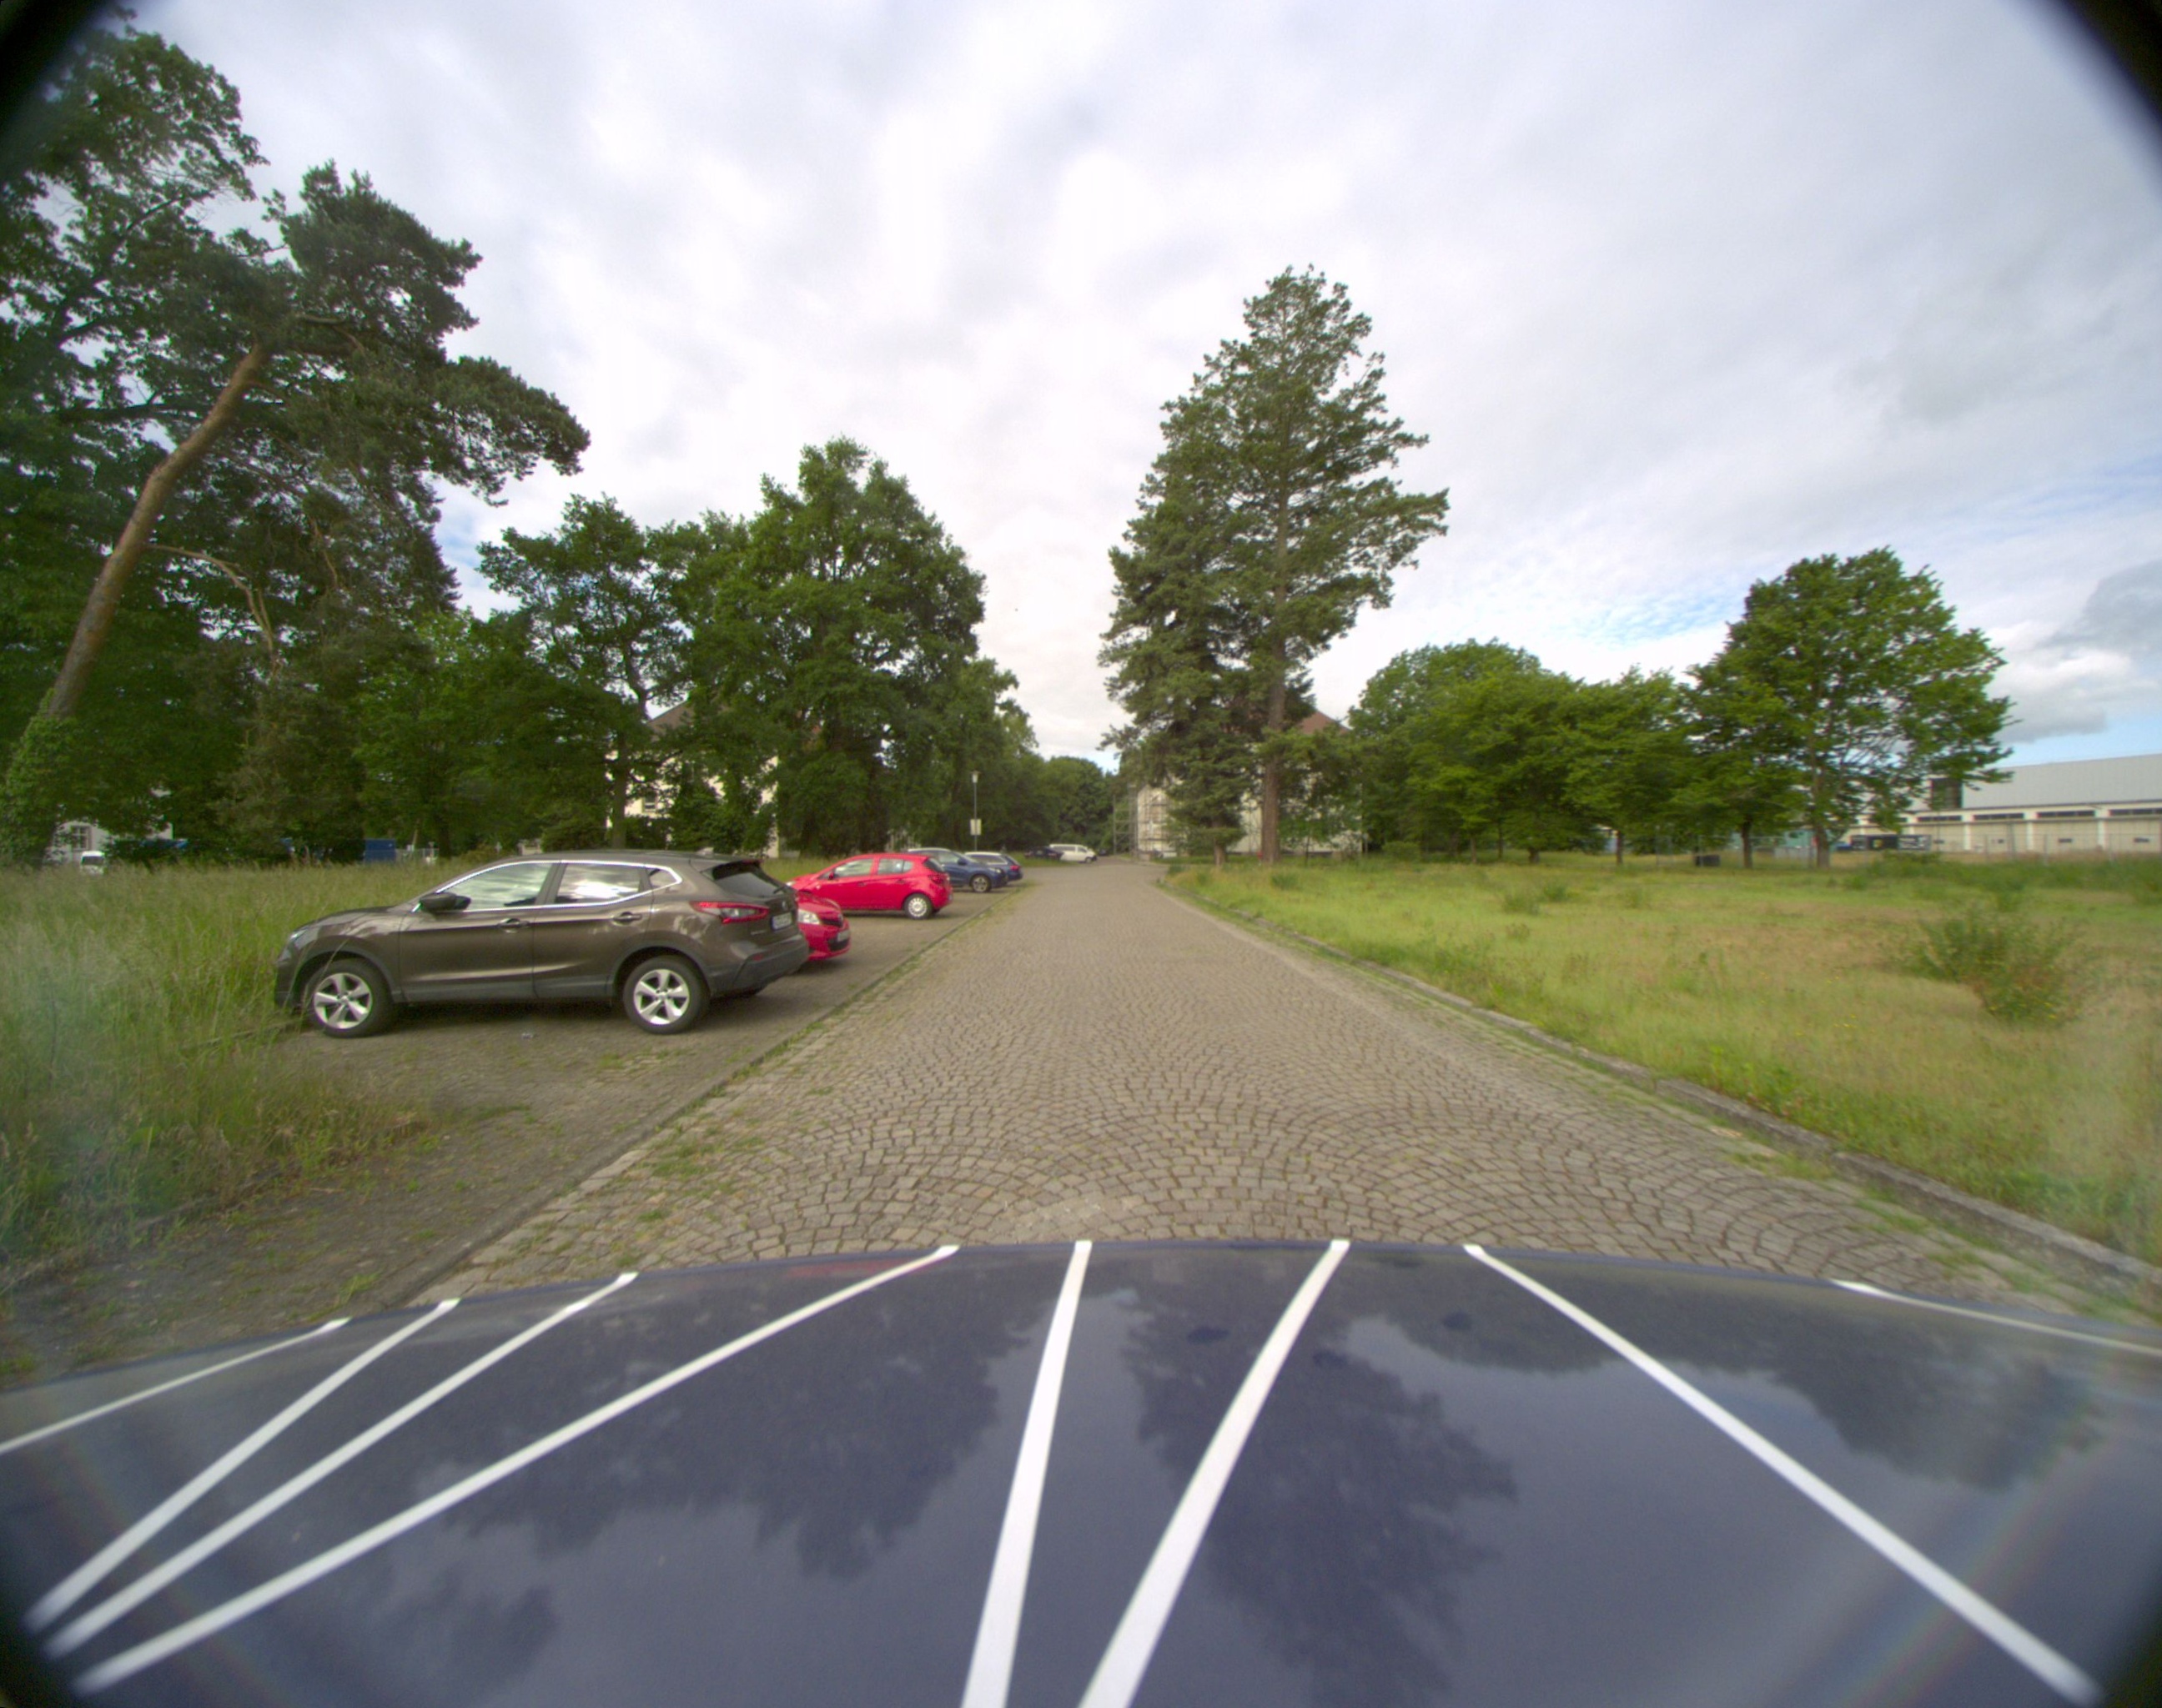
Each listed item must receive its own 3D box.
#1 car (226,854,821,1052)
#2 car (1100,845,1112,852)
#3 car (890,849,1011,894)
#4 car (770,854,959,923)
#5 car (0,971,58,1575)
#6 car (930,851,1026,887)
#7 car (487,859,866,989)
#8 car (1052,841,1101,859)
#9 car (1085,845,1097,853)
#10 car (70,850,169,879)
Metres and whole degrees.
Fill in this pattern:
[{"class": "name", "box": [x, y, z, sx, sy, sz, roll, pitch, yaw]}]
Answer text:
[{"class": "car", "box": [-4.922, 0.834, 7.225, 4.271, 1.589, 1.821, 1, 1, -1]}, {"class": "car", "box": [4.884, -1.077, 148.122, 1.870, 1.408, 4.694, 1, 1, -4]}, {"class": "car", "box": [-4.694, 0.609, 27.740, 4.150, 1.529, 1.582, 1, 1, -1]}, {"class": "car", "box": [-4.882, 0.762, 17.501, 3.895, 1.451, 1.582, 1, 1, -1]}, {"class": "car", "box": [-4.520, 0.934, 0.955, 3.872, 1.463, 1.841, 3, 1, -1]}, {"class": "car", "box": [-4.328, 0.626, 32.400, 3.878, 1.417, 1.582, 1, 1, -1]}, {"class": "car", "box": [-5.083, 0.843, 9.952, 4.016, 1.477, 1.765, 1, 1, 0]}, {"class": "car", "box": [-0.480, -0.427, 81.180, 5.141, 1.861, 1.723, 1, 1, -1]}, {"class": "car", "box": [1.996, -1.000, 147.583, 1.870, 1.408, 4.694, 1, 1, -4]}, {"class": "car", "box": [-68.362, 0.711, 54.118, 1.999, 2.002, 3.998, -1, 1, -4]}]
